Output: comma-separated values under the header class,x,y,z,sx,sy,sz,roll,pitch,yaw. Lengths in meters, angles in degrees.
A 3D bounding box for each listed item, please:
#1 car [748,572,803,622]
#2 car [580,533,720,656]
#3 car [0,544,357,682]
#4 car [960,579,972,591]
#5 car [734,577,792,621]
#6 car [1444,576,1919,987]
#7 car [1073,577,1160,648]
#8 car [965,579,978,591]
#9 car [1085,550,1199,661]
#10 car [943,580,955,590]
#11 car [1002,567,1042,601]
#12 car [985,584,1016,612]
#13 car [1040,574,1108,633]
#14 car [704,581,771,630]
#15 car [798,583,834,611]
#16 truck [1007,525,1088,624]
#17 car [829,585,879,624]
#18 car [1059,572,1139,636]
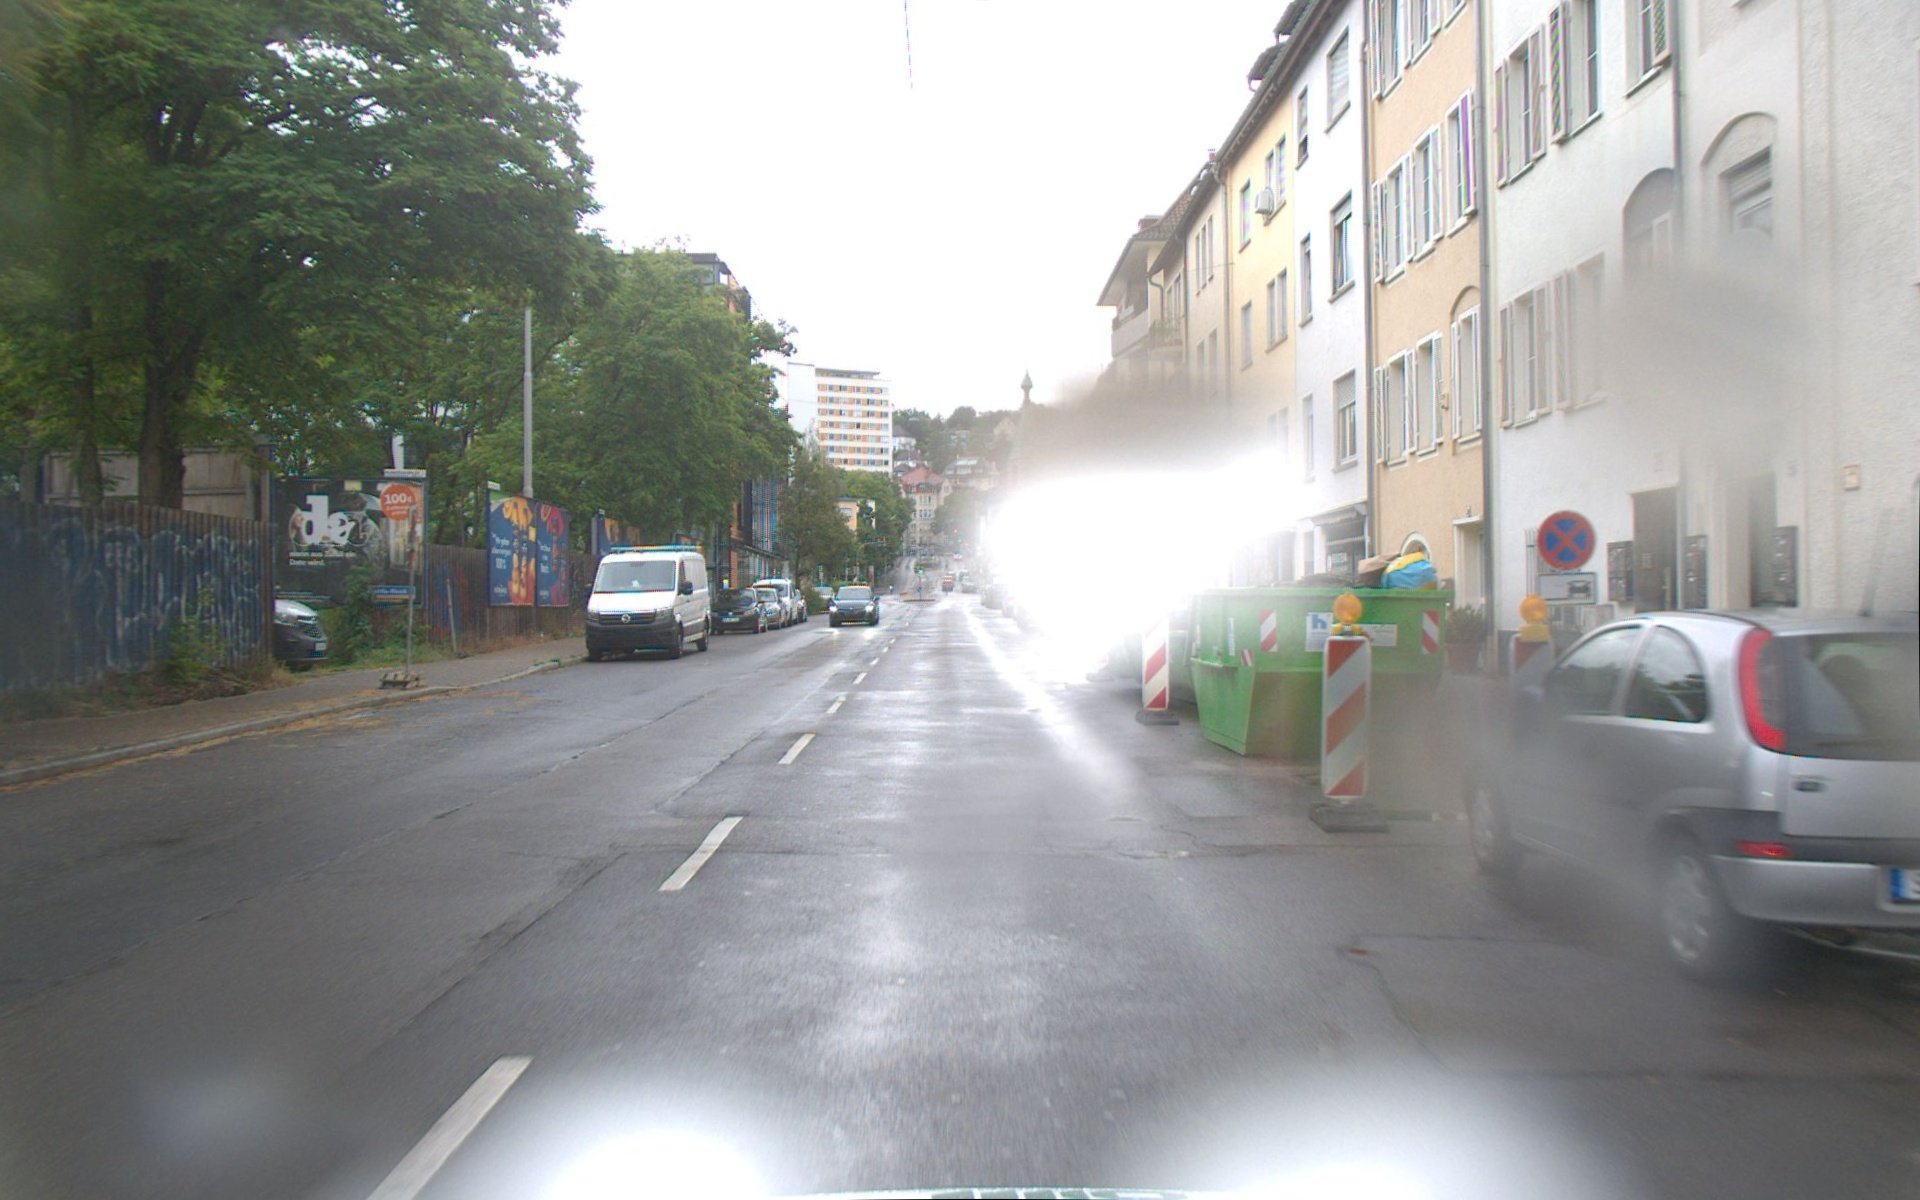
class,x,y,z,sx,sy,sz,roll,pitch,yaw
car,-7.172,-0.095,64.683,1.689,1.831,4.343,-2,0,-1
car,-6.935,-0.140,37.648,1.970,2.530,5.983,-2,0,0
car,-13.110,0.200,27.383,5.390,2.044,2.145,-2,0,-3
car,0.874,-2.283,250.063,1.813,1.797,4.000,0,0,1
car,-7.044,-0.019,59.574,1.648,1.488,4.275,-2,0,-2
car,3.633,0.622,7.729,1.593,1.435,3.842,1,1,0
car,3.449,0.259,36.884,1.545,1.496,3.501,-1,0,-1
car,1.602,-2.161,238.350,1.696,1.682,4.002,-2,1,2
car,3.393,0.088,31.494,1.780,1.957,4.239,0,0,1
car,-1.689,-2.365,260.203,1.869,1.537,3.999,0,0,-1
car,2.898,-0.728,77.963,1.630,1.528,3.920,-1,0,-2
car,2.527,-0.137,103.523,1.780,1.681,4.075,1,0,-1
car,3.240,0.074,47.619,1.629,1.600,4.097,-1,0,-1
car,-7.024,0.179,52.498,1.648,1.423,3.909,-2,0,-2
car,-8.101,-0.167,93.314,1.767,1.476,4.655,-1,0,-3
truck,2.983,-0.843,57.829,2.419,3.228,7.035,-1,0,0
car,-4.077,0.175,64.046,1.769,1.440,4.382,-1,0,-2
car,3.498,0.085,42.129,1.629,1.526,4.097,-1,0,-1
